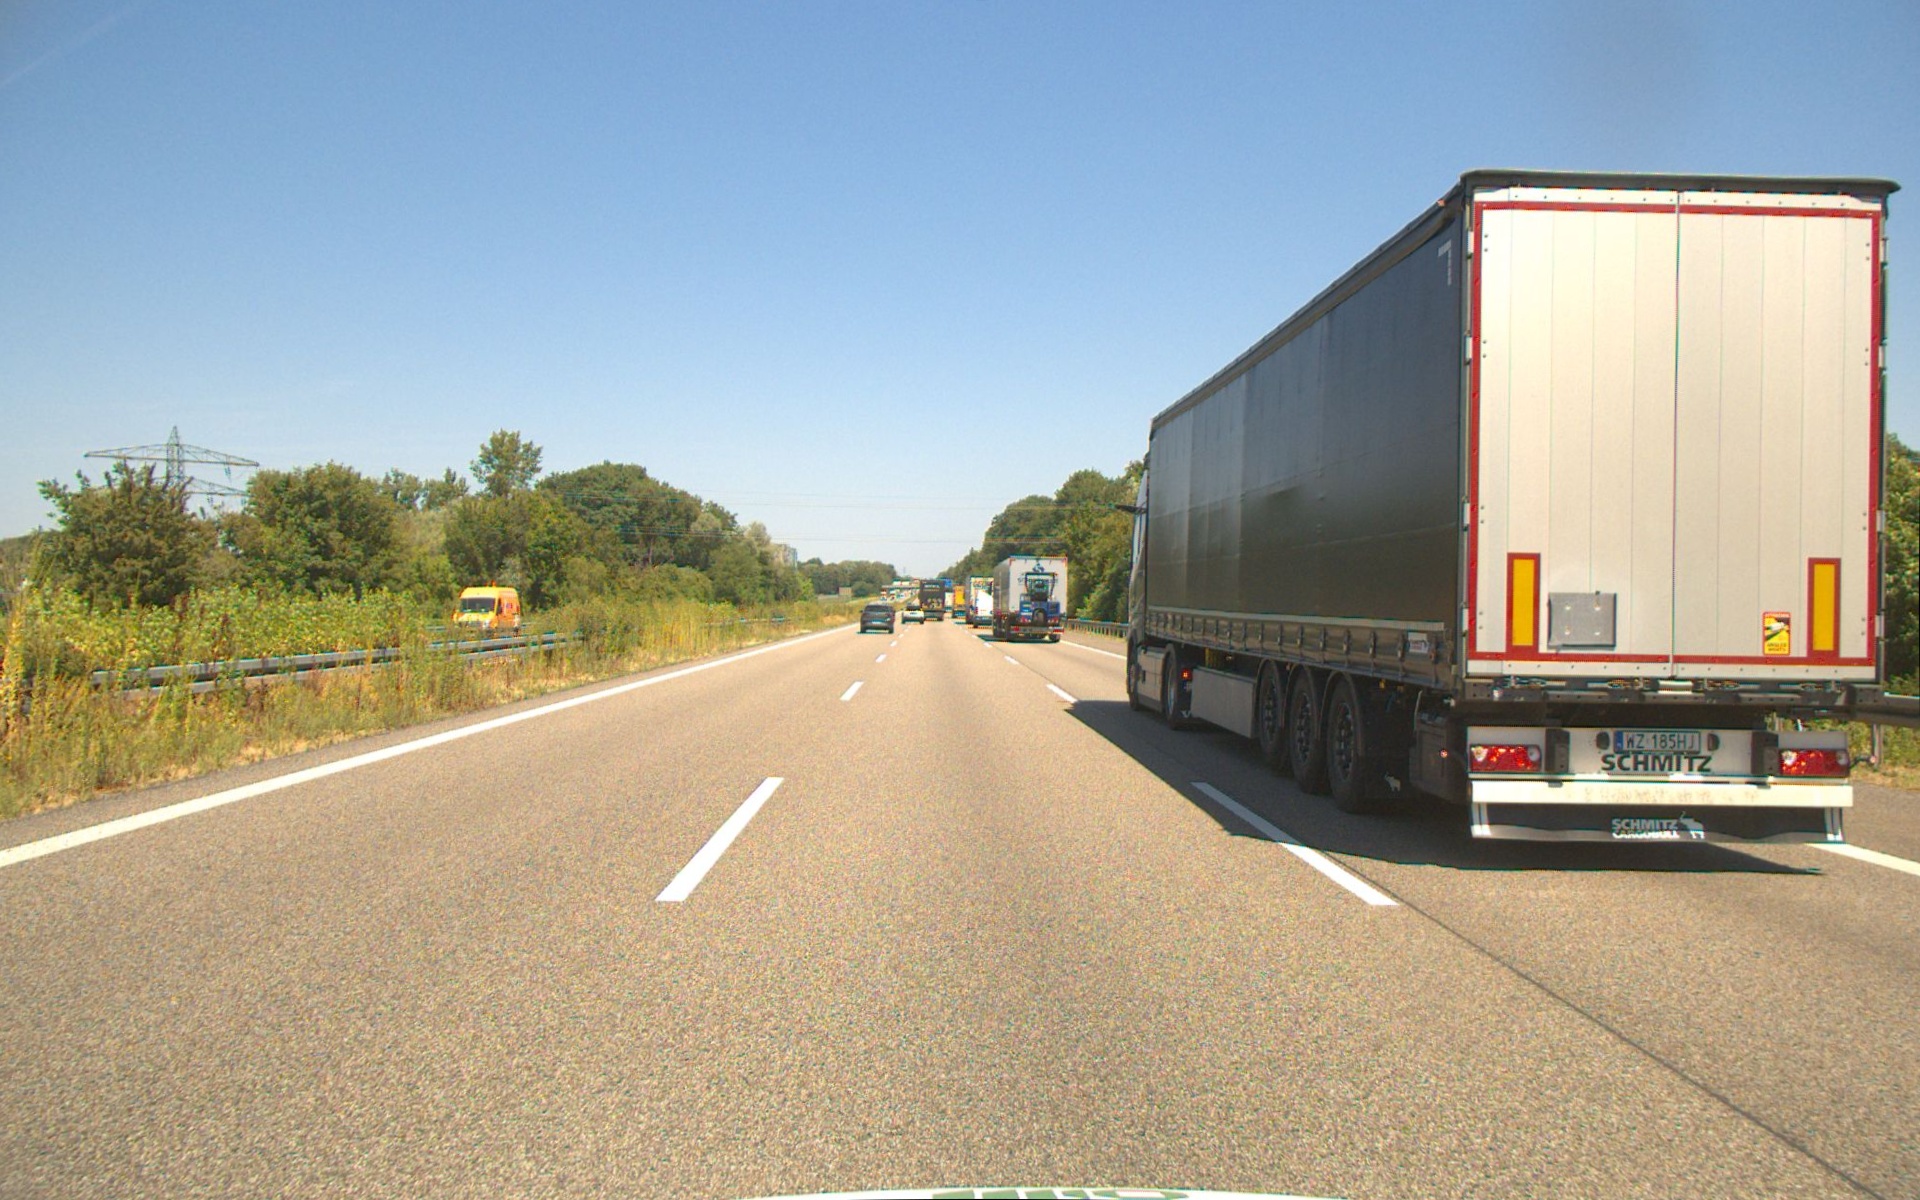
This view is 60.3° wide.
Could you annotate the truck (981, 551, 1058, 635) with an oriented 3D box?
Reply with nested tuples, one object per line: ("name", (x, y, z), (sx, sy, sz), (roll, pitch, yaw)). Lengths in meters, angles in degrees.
("truck", (2.907, -0.415, 84.047), (2.997, 3.946, 10.028), (1, 1, -3))

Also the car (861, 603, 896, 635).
("car", (-4.367, 1.025, 89.076), (1.723, 1.557, 4.285), (2, 1, -1))

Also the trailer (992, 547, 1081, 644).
("trailer", (3.302, -0.251, 74.122), (3.060, 3.995, 9.933), (1, 1, -2))

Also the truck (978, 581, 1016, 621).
("truck", (3.630, 0.050, 165.788), (3.592, 3.790, 7.108), (1, 1, 0))

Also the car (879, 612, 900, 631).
("car", (-6.497, 1.956, 152.560), (1.862, 1.557, 4.083), (2, 1, -1))

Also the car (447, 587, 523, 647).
("car", (-21.816, 0.738, 76.186), (2.060, 2.601, 6.181), (0, 1, -4))

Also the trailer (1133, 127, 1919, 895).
("trailer", (4.222, -0.488, 16.139), (3.365, 4.254, 13.629), (1, 0, -1))

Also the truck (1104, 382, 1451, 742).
("truck", (4.123, -0.421, 23.311), (3.394, 4.250, 6.842), (1, -1, -1))

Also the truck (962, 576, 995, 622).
("truck", (1.556, -0.154, 141.629), (2.735, 3.790, 7.108), (1, 1, 0))

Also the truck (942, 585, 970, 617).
("truck", (-0.483, 0.087, 206.436), (3.418, 3.790, 7.108), (1, 1, 0))

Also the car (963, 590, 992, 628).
("car", (1.208, 0.610, 115.812), (1.869, 2.467, 4.285), (1, 1, -1))

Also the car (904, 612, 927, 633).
("car", (-3.622, 1.830, 135.374), (1.862, 1.557, 4.083), (2, 1, -1))

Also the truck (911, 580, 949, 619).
("truck", (-2.992, -0.105, 165.582), (3.592, 3.790, 7.108), (1, 1, 0))
